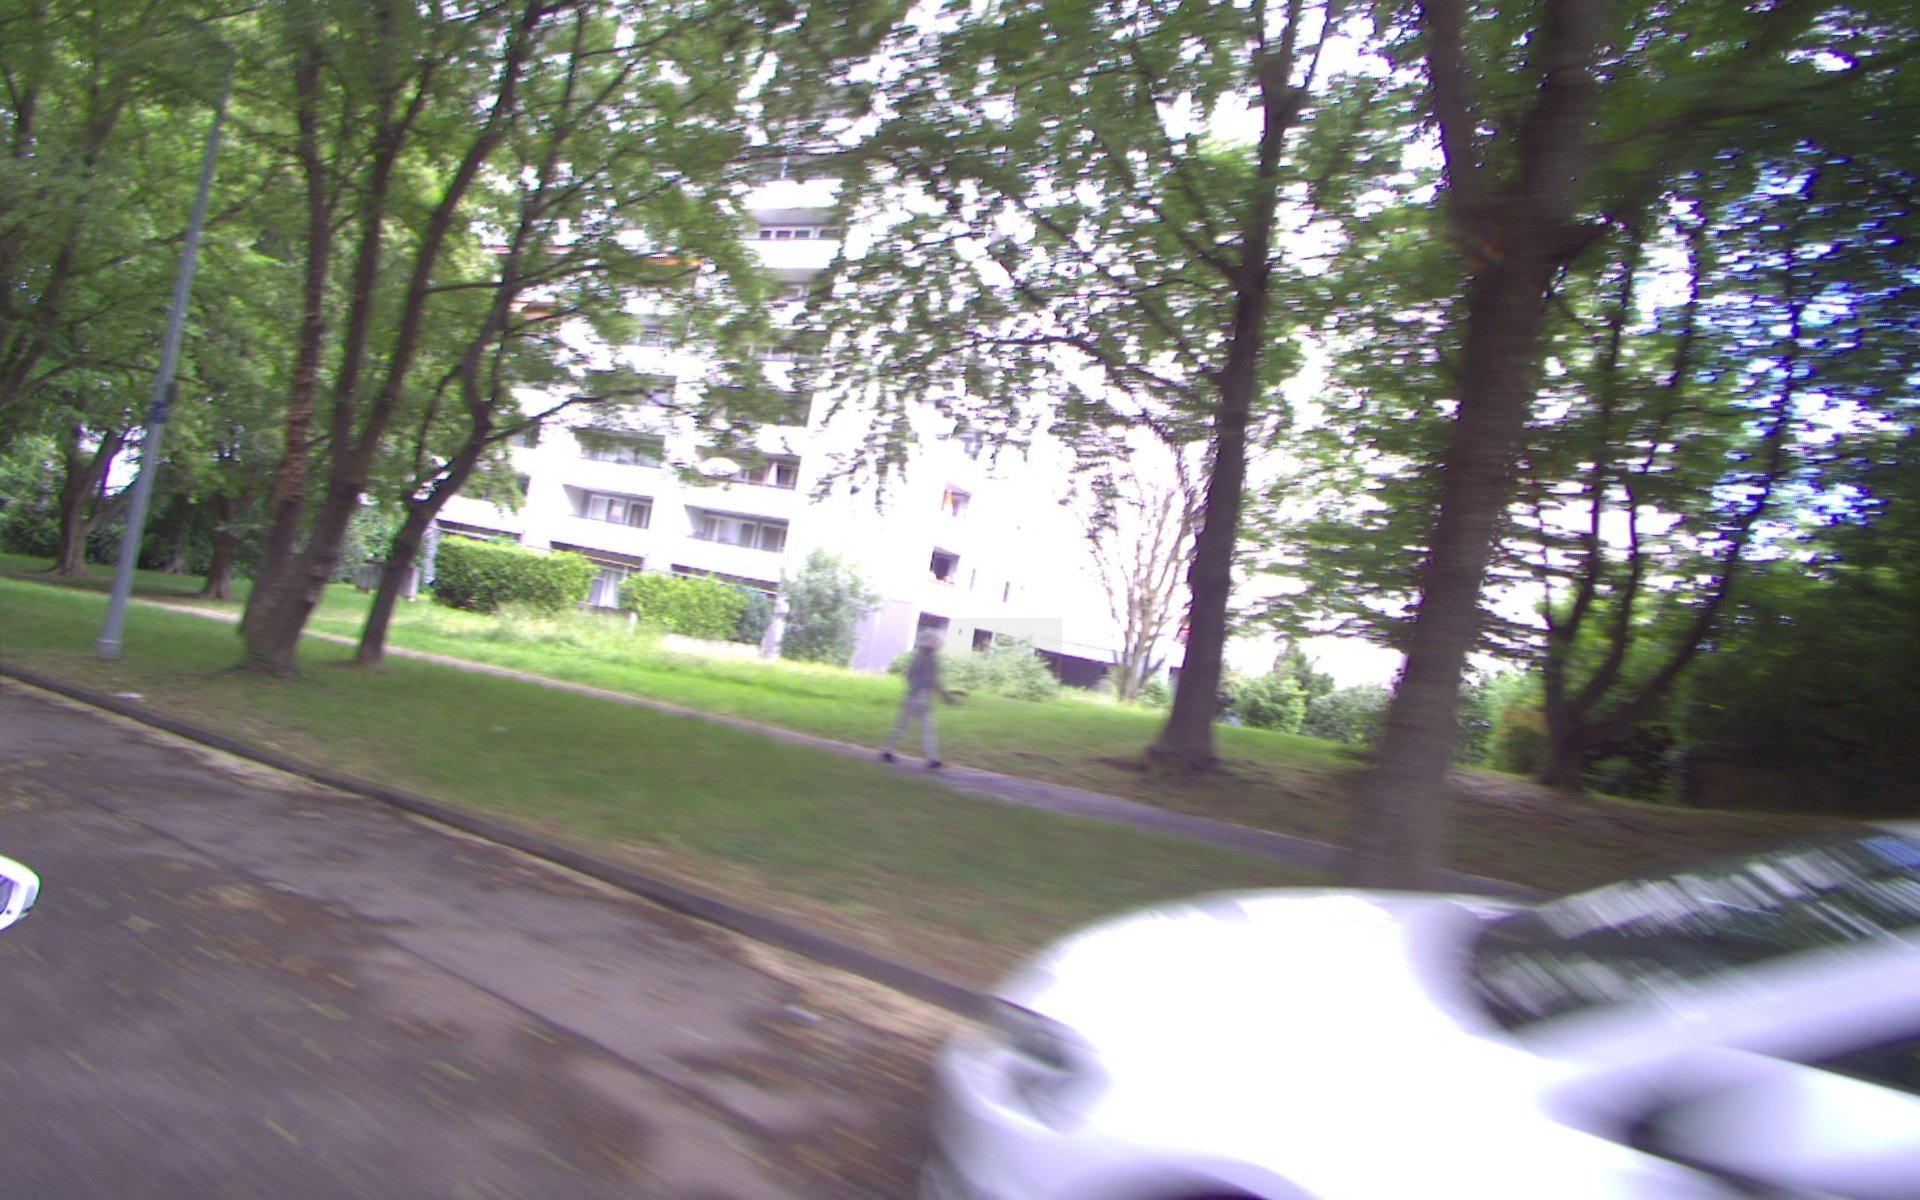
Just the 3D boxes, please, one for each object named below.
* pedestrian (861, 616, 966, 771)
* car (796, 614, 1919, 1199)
[{"bbox_3d":[-0.541,1.091,11.847,0.856,1.670,0.583,7,-2,21],"label":"pedestrian"},{"bbox_3d":[1.871,1.061,1.707,4.037,1.499,1.693,6,-3,30],"label":"car"}]
